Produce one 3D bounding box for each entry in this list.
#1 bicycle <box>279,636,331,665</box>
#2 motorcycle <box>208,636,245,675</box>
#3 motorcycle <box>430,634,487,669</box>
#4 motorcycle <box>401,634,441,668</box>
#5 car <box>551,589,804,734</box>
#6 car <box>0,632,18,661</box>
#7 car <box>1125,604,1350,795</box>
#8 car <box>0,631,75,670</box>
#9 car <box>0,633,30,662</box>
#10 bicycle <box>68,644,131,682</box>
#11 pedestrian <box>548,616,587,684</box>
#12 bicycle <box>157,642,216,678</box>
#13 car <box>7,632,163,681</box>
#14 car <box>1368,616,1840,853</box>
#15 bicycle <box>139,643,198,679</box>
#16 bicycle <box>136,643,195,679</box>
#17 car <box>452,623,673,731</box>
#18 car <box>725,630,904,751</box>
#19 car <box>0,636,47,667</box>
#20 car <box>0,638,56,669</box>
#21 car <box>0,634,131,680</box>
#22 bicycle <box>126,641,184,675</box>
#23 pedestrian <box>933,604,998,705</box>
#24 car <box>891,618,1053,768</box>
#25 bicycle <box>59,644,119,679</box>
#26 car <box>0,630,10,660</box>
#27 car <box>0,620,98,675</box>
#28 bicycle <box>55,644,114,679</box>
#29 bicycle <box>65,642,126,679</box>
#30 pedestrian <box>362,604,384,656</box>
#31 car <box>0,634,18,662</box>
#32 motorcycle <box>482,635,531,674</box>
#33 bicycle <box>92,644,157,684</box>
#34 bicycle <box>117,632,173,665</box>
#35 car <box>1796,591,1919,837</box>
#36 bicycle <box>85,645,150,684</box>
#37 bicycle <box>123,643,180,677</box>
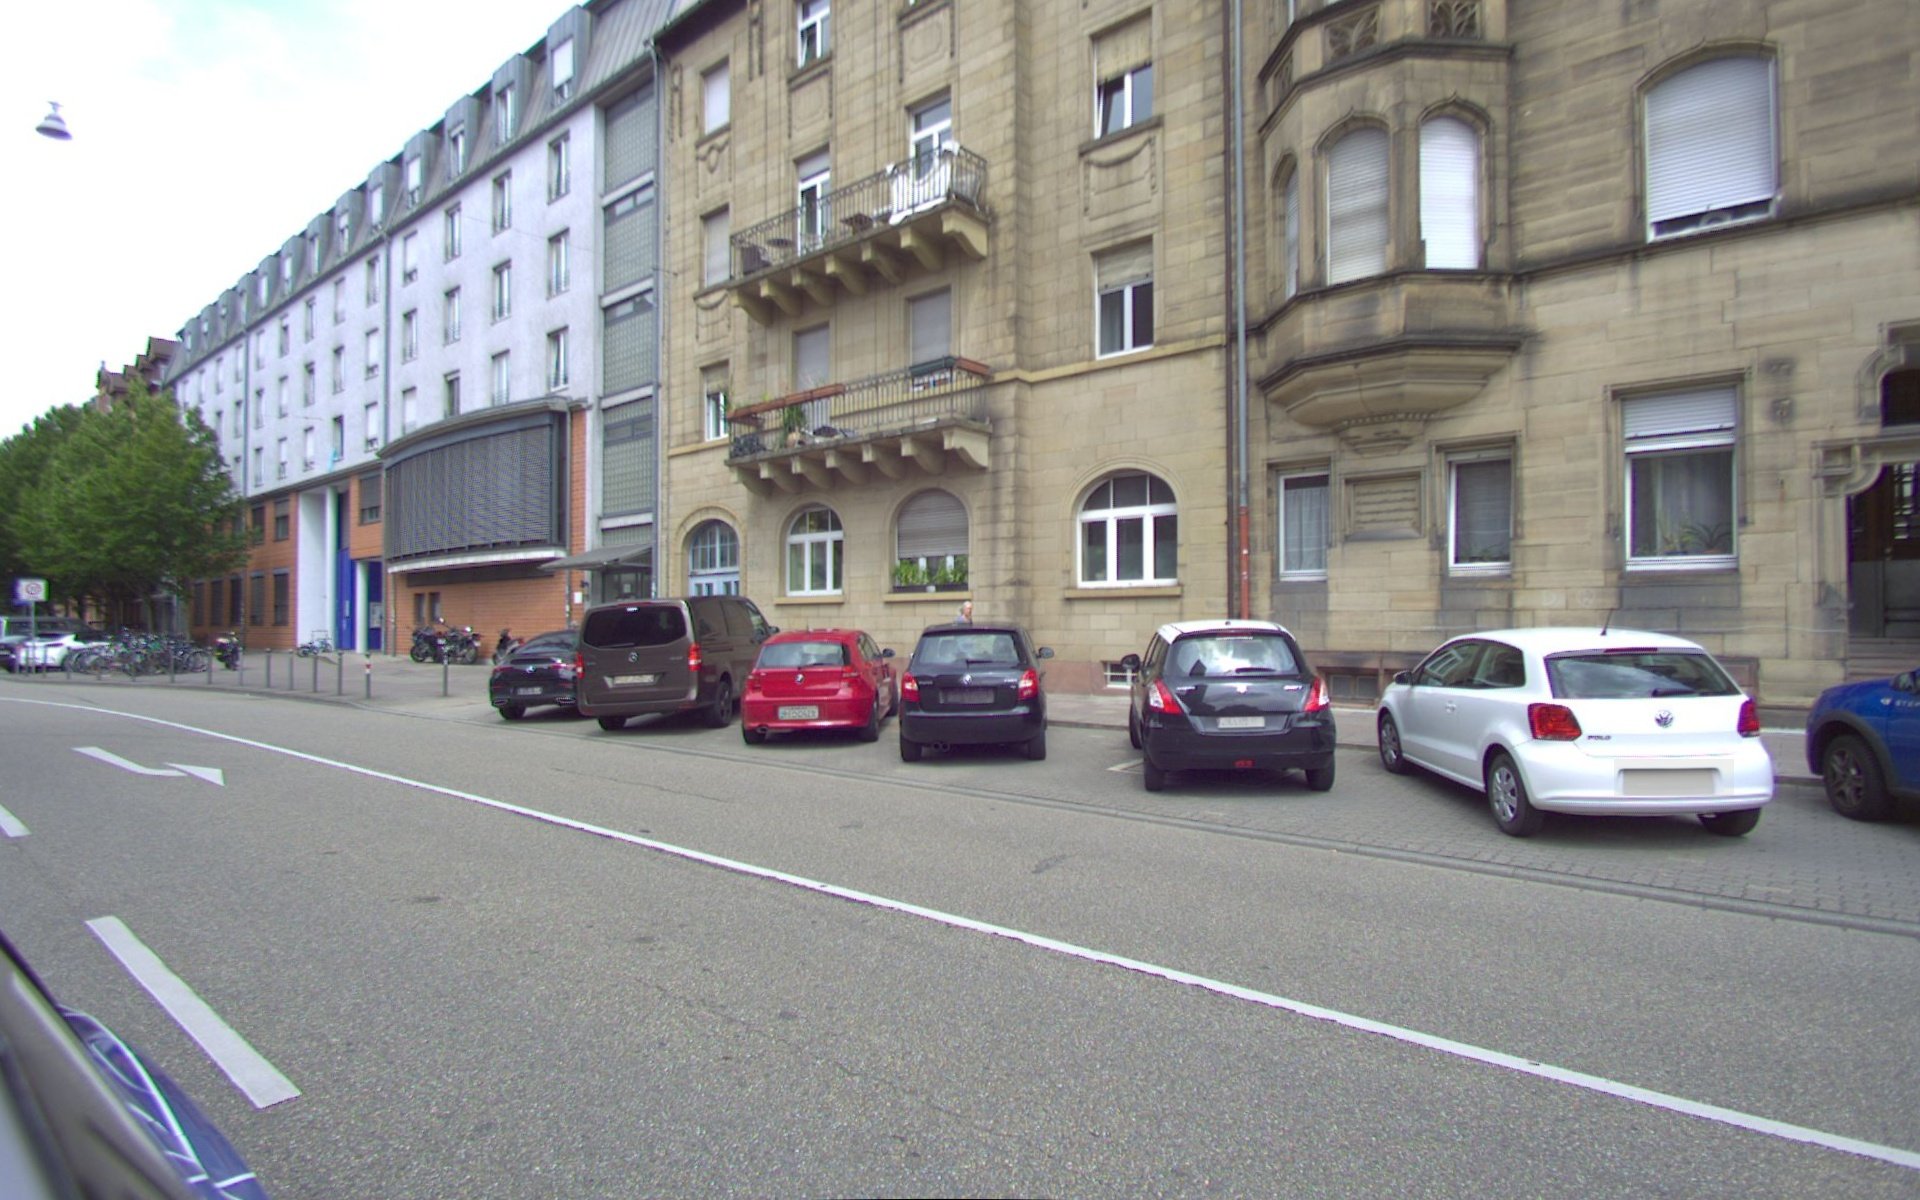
[{"bbox_3d":[-25.875,1.982,39.979,1.590,0.933,0.933,-6,2,-37],"label":"bicycle"},{"bbox_3d":[-22.991,1.724,31.711,1.779,1.181,0.577,-2,-1,43],"label":"motorcycle"},{"bbox_3d":[-15.577,1.601,31.416,1.959,1.057,0.579,-2,-1,30],"label":"motorcycle"},{"bbox_3d":[-17.511,1.638,32.874,1.655,1.057,0.577,-2,-1,40],"label":"motorcycle"},{"bbox_3d":[-4.209,0.891,16.189,2.096,1.924,5.260,-1,-2,7],"label":"car"},{"bbox_3d":[-57.450,2.747,58.681,1.671,1.695,3.996,-1,-2,7],"label":"car"},{"bbox_3d":[2.637,0.882,10.485,1.776,1.576,4.001,-1,-2,9],"label":"car"},{"bbox_3d":[-41.019,2.172,43.776,1.692,1.627,3.996,-1,-2,7],"label":"car"},{"bbox_3d":[-52.937,2.599,54.538,1.671,1.580,3.996,-1,-2,7],"label":"car"},{"bbox_3d":[-26.329,1.921,30.980,0.402,1.046,1.391,-2,0,43],"label":"bicycle"},{"bbox_3d":[-8.789,1.107,22.666,0.507,1.497,0.656,-1,-2,27],"label":"pedestrian"},{"bbox_3d":[-23.295,1.803,30.494,0.402,1.034,1.390,-2,-2,43],"label":"bicycle"},{"bbox_3d":[-30.251,1.919,35.159,1.585,1.557,3.993,-1,-2,10],"label":"car"},{"bbox_3d":[4.840,0.906,8.321,1.720,1.493,3.680,-1,-2,5],"label":"car"},{"bbox_3d":[-24.361,1.870,31.159,0.402,1.034,1.390,-2,-2,43],"label":"bicycle"},{"bbox_3d":[-24.748,1.885,31.530,0.402,1.034,1.390,-2,-2,43],"label":"bicycle"},{"bbox_3d":[-6.731,1.231,17.762,1.874,1.420,4.669,-2,1,2],"label":"car"},{"bbox_3d":[-1.837,1.127,13.962,1.772,1.420,4.009,0,-2,2],"label":"car"},{"bbox_3d":[-46.920,2.491,48.927,1.671,1.465,3.996,-1,-2,7],"label":"car"},{"bbox_3d":[-45.186,2.526,47.548,1.577,1.400,3.996,-1,-2,7],"label":"car"},{"bbox_3d":[-32.508,2.001,36.305,1.697,1.480,4.307,-1,-2,7],"label":"car"},{"bbox_3d":[-25.741,1.838,32.376,0.402,1.034,1.390,-2,-2,43],"label":"bicycle"},{"bbox_3d":[0.095,0.880,16.730,0.678,1.607,0.783,-2,0,41],"label":"pedestrian"},{"bbox_3d":[0.296,1.000,12.302,1.611,1.514,3.989,-1,-2,6],"label":"car"},{"bbox_3d":[-27.761,1.947,32.250,0.402,1.034,1.391,-2,0,43],"label":"bicycle"},{"bbox_3d":[-59.587,2.730,60.441,1.671,1.872,4.035,-1,-2,7],"label":"car"},{"bbox_3d":[-36.880,1.828,40.052,1.841,2.013,3.993,-1,0,10],"label":"car"},{"bbox_3d":[-28.363,1.983,32.787,0.402,1.034,1.391,-2,0,43],"label":"bicycle"},{"bbox_3d":[-26.815,1.870,31.401,0.402,1.034,1.391,-2,0,43],"label":"bicycle"},{"bbox_3d":[-23.446,1.198,40.436,0.718,2.029,0.785,1,-2,-29],"label":"pedestrian"},{"bbox_3d":[-55.005,2.687,56.067,1.671,1.580,3.996,-1,-2,7],"label":"car"},{"bbox_3d":[-12.921,1.547,28.828,1.793,1.057,0.577,-2,-1,42],"label":"motorcycle"},{"bbox_3d":[-24.070,1.827,29.174,0.402,1.046,1.391,-2,0,43],"label":"bicycle"},{"bbox_3d":[-27.038,1.609,33.590,0.402,1.034,1.390,-2,-2,43],"label":"bicycle"},{"bbox_3d":[7.263,0.743,5.952,1.703,1.664,3.772,-1,-2,5],"label":"car"},{"bbox_3d":[-24.751,1.879,29.747,0.402,1.046,1.391,-2,0,43],"label":"bicycle"},{"bbox_3d":[-26.105,1.919,32.694,0.402,1.034,1.390,-2,-2,43],"label":"bicycle"}]
